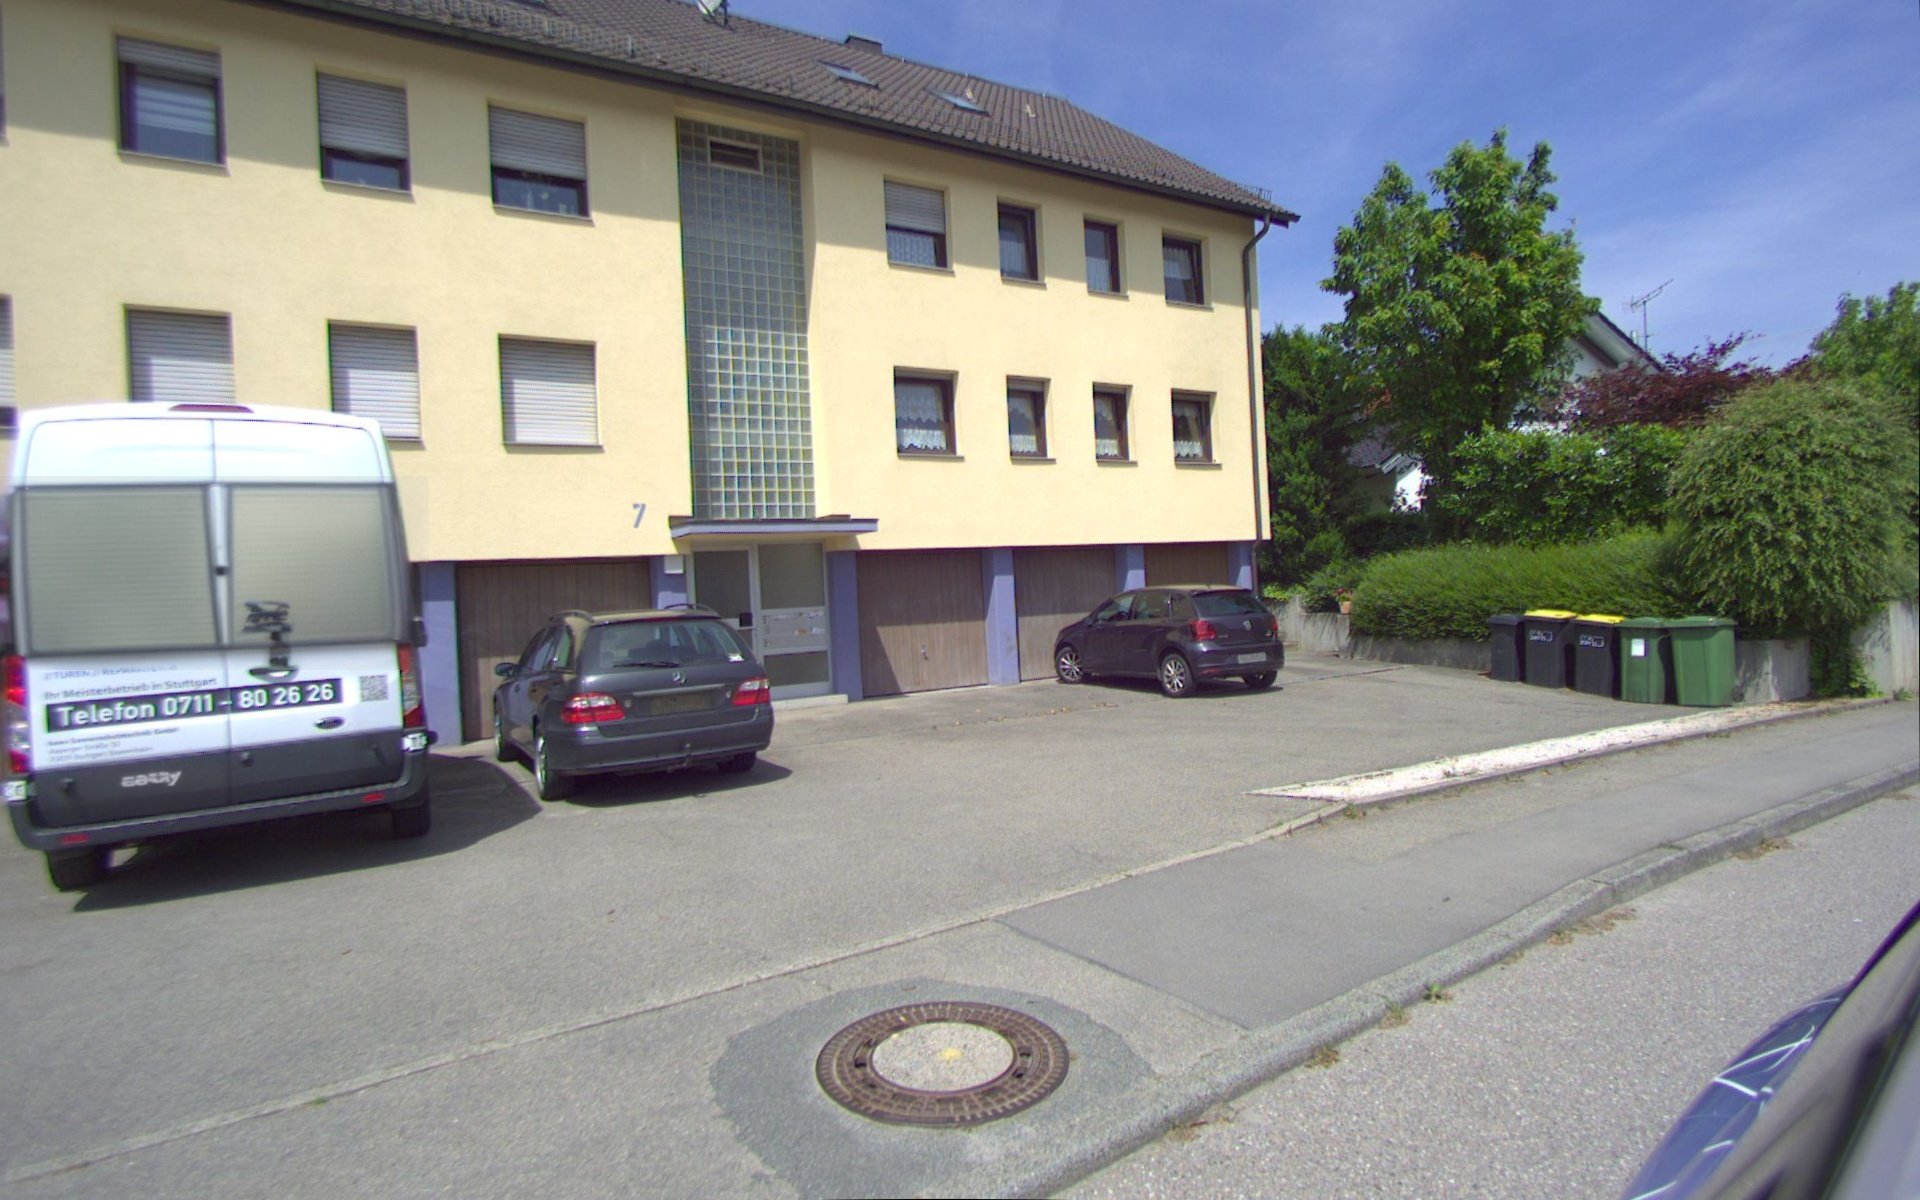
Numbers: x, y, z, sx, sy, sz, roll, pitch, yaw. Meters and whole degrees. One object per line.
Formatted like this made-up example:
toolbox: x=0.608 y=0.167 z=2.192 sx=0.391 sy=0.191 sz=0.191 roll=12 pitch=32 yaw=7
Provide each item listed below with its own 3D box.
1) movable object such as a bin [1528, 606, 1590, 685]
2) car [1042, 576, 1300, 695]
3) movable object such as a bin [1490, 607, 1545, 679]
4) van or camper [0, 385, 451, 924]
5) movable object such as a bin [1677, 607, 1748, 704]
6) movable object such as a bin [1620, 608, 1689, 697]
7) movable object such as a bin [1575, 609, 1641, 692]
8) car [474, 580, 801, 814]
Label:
movable object such as a bin: x=8.175 y=0.609 z=13.817 sx=0.553 sy=1.034 sz=0.487 roll=0 pitch=2 yaw=-26
car: x=2.870 y=0.455 z=14.535 sx=1.611 sy=1.436 sz=3.697 roll=-2 pitch=0 yaw=-28
movable object such as a bin: x=7.871 y=0.600 z=14.294 sx=0.505 sy=0.967 sz=0.451 roll=0 pitch=3 yaw=-29
van or camper: x=-5.402 y=0.327 z=7.731 sx=2.240 sy=2.680 sz=5.246 roll=-3 pitch=-1 yaw=-31
movable object such as a bin: x=9.041 y=0.649 z=12.157 sx=0.553 sy=1.121 sz=0.486 roll=0 pitch=-1 yaw=-30
movable object such as a bin: x=8.713 y=0.646 z=12.704 sx=0.553 sy=1.084 sz=0.486 roll=0 pitch=-1 yaw=-26
movable object such as a bin: x=8.477 y=0.644 z=13.246 sx=0.553 sy=1.034 sz=0.487 roll=0 pitch=2 yaw=-26
car: x=-3.321 y=0.706 z=9.654 sx=1.872 sy=1.582 sz=4.717 roll=-3 pitch=1 yaw=-31
